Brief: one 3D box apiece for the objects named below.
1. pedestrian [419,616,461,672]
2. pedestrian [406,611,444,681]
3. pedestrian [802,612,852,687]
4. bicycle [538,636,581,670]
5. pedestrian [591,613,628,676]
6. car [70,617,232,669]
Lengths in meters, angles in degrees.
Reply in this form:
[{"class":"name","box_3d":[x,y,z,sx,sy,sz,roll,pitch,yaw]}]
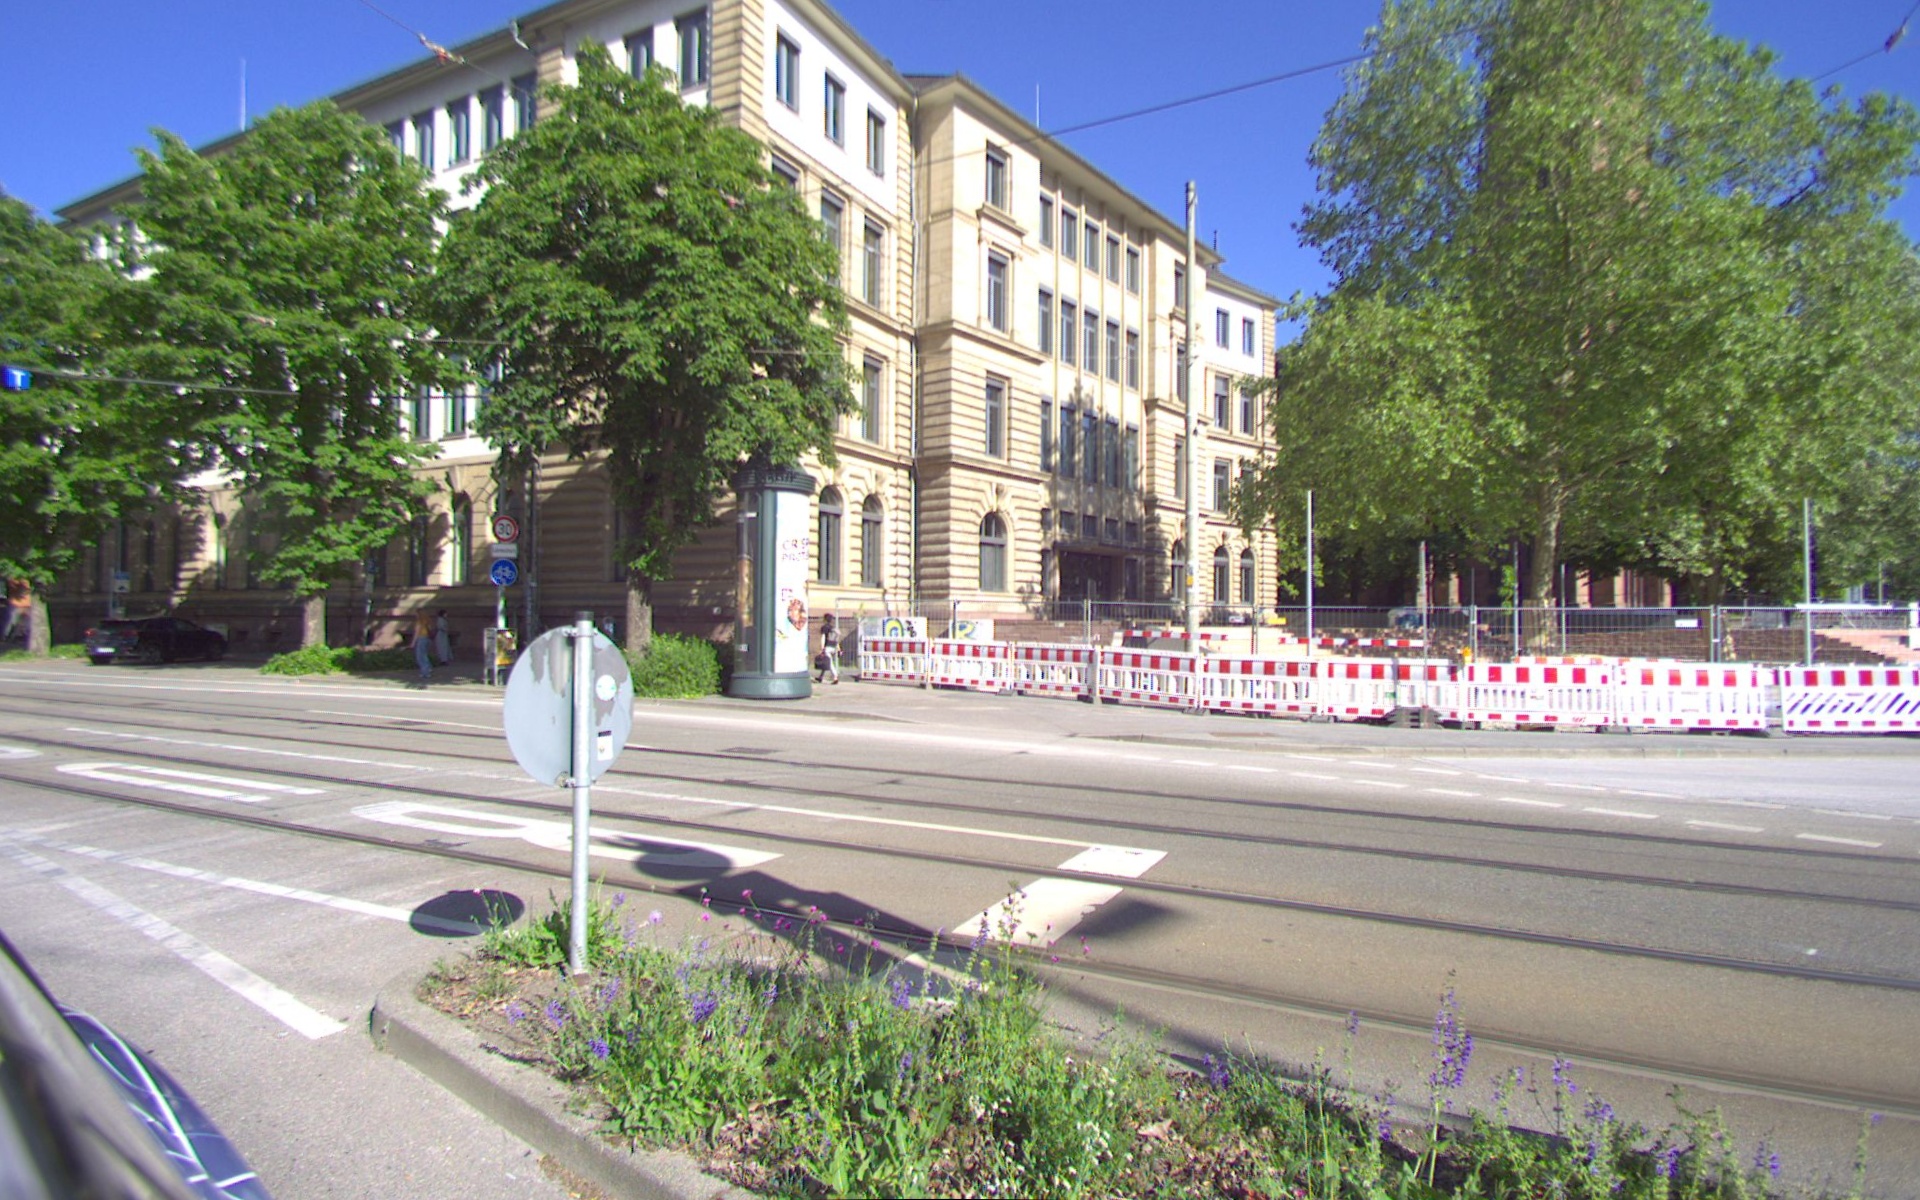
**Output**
[{"class":"pedestrian","box_3d":[-15.156,1.280,29.507,0.852,1.578,0.669,0,2,20]},{"class":"pedestrian","box_3d":[-13.430,1.163,25.386,0.759,1.682,1.036,1,-6,-32]},{"class":"pedestrian","box_3d":[-3.082,1.134,23.410,0.845,1.682,0.720,2,0,39]},{"class":"bicycle","box_3d":[-11.474,1.507,28.968,1.356,0.910,0.394,0,0,31]},{"class":"pedestrian","box_3d":[-8.928,1.125,25.793,0.651,1.574,0.573,-1,-2,29]},{"class":"car","box_3d":[-26.052,1.362,32.793,1.895,1.586,4.108,0,-2,1]}]
